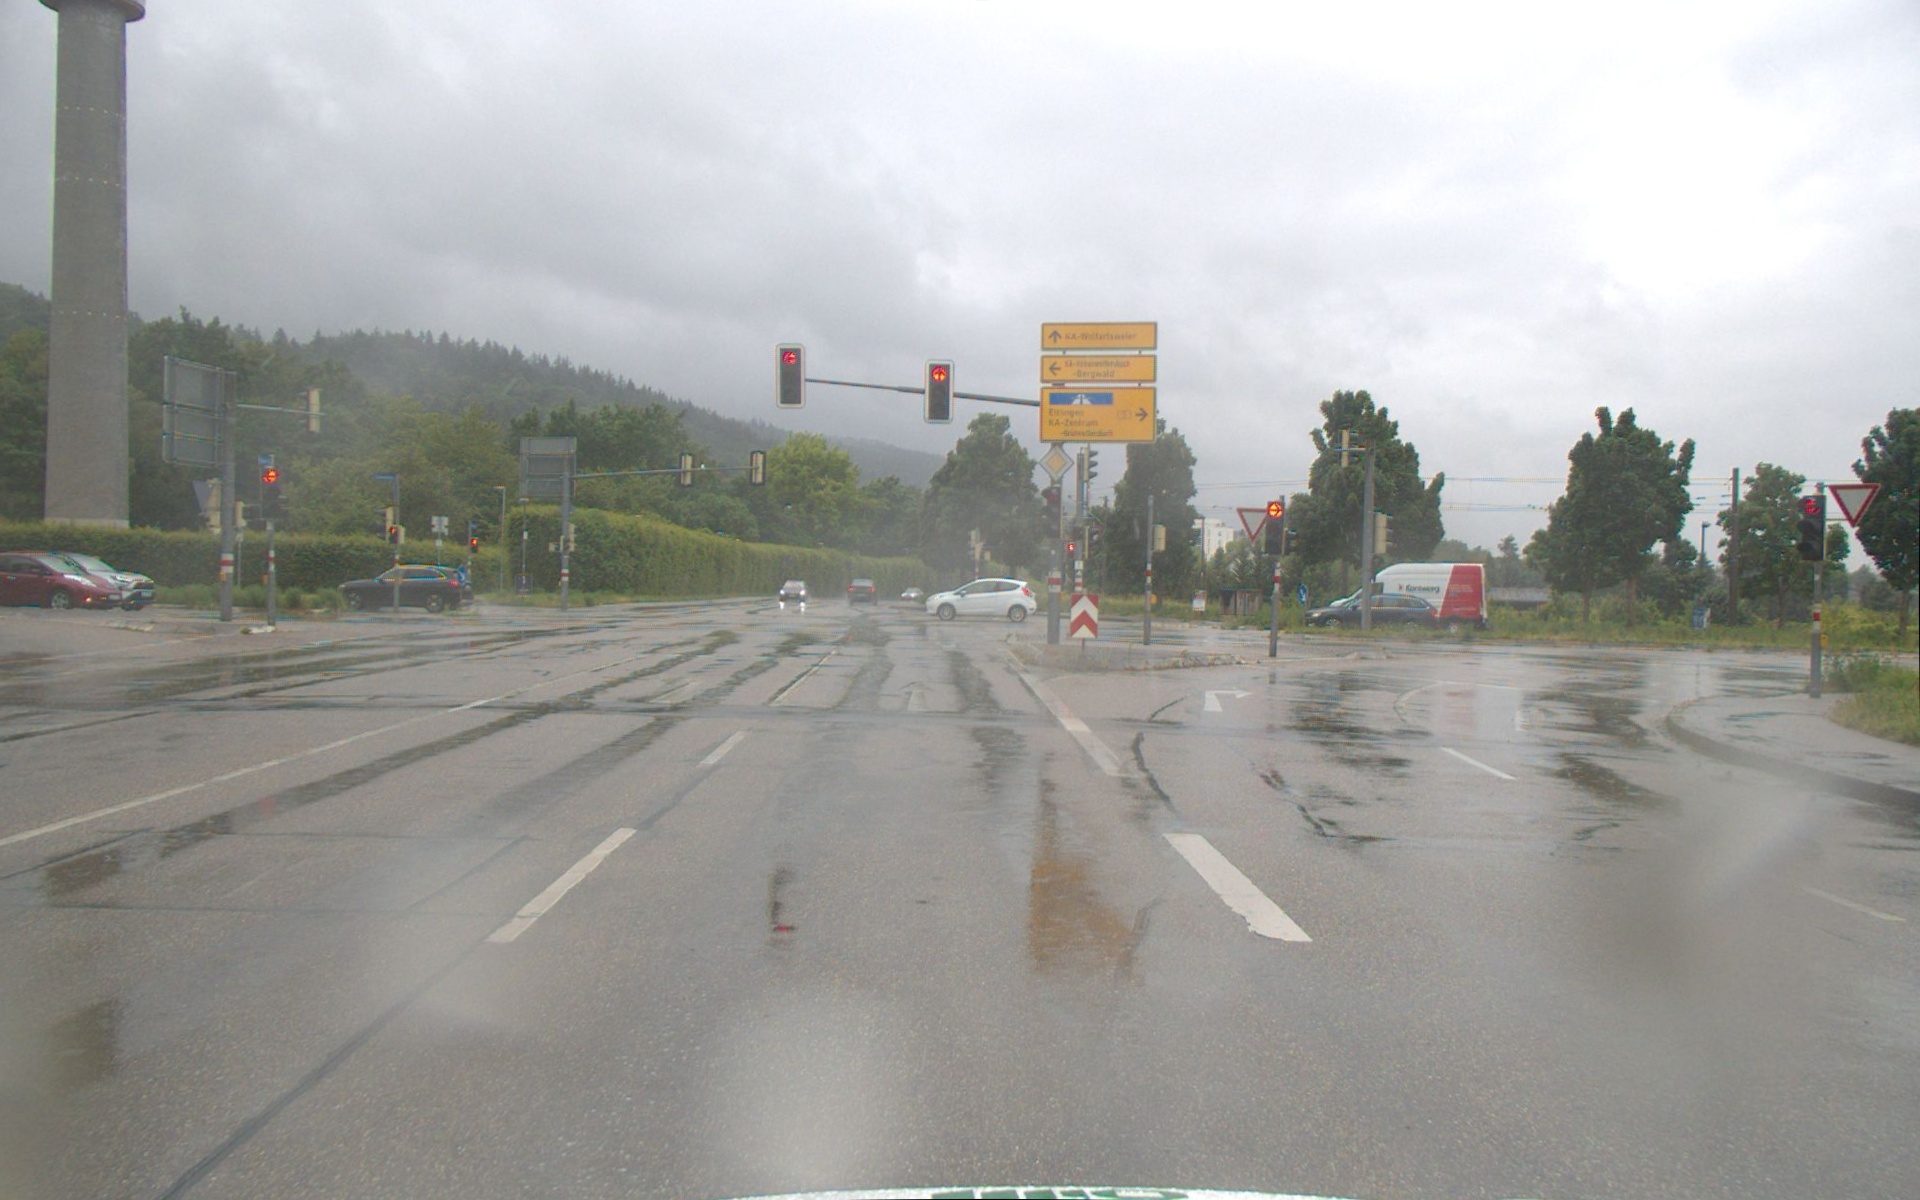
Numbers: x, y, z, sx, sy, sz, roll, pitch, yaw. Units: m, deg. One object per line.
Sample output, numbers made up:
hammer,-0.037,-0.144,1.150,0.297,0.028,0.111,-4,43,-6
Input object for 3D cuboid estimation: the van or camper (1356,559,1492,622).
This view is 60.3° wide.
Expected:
van or camper,17.337,-0.373,61.733,4.747,2.207,2.161,2,1,18

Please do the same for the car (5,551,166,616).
car,-25.128,-0.479,47.590,3.721,1.741,1.747,1,1,6

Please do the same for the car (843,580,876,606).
car,-6.306,-0.446,104.296,1.840,1.601,4.644,-1,1,0

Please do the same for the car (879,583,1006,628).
car,-0.613,0.191,60.984,4.572,1.580,1.823,1,1,2

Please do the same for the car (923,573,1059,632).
car,1.095,0.065,57.322,4.571,1.949,1.916,1,1,4

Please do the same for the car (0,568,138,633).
car,-24.441,-0.005,44.055,4.282,1.607,1.734,2,1,6

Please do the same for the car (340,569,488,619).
car,-19.184,-0.236,58.258,4.577,1.667,1.821,1,1,-4

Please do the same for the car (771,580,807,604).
car,-12.023,-0.568,116.463,1.840,1.601,4.646,-1,1,3

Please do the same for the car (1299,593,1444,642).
car,14.069,0.586,56.738,4.571,1.580,1.824,1,1,5
